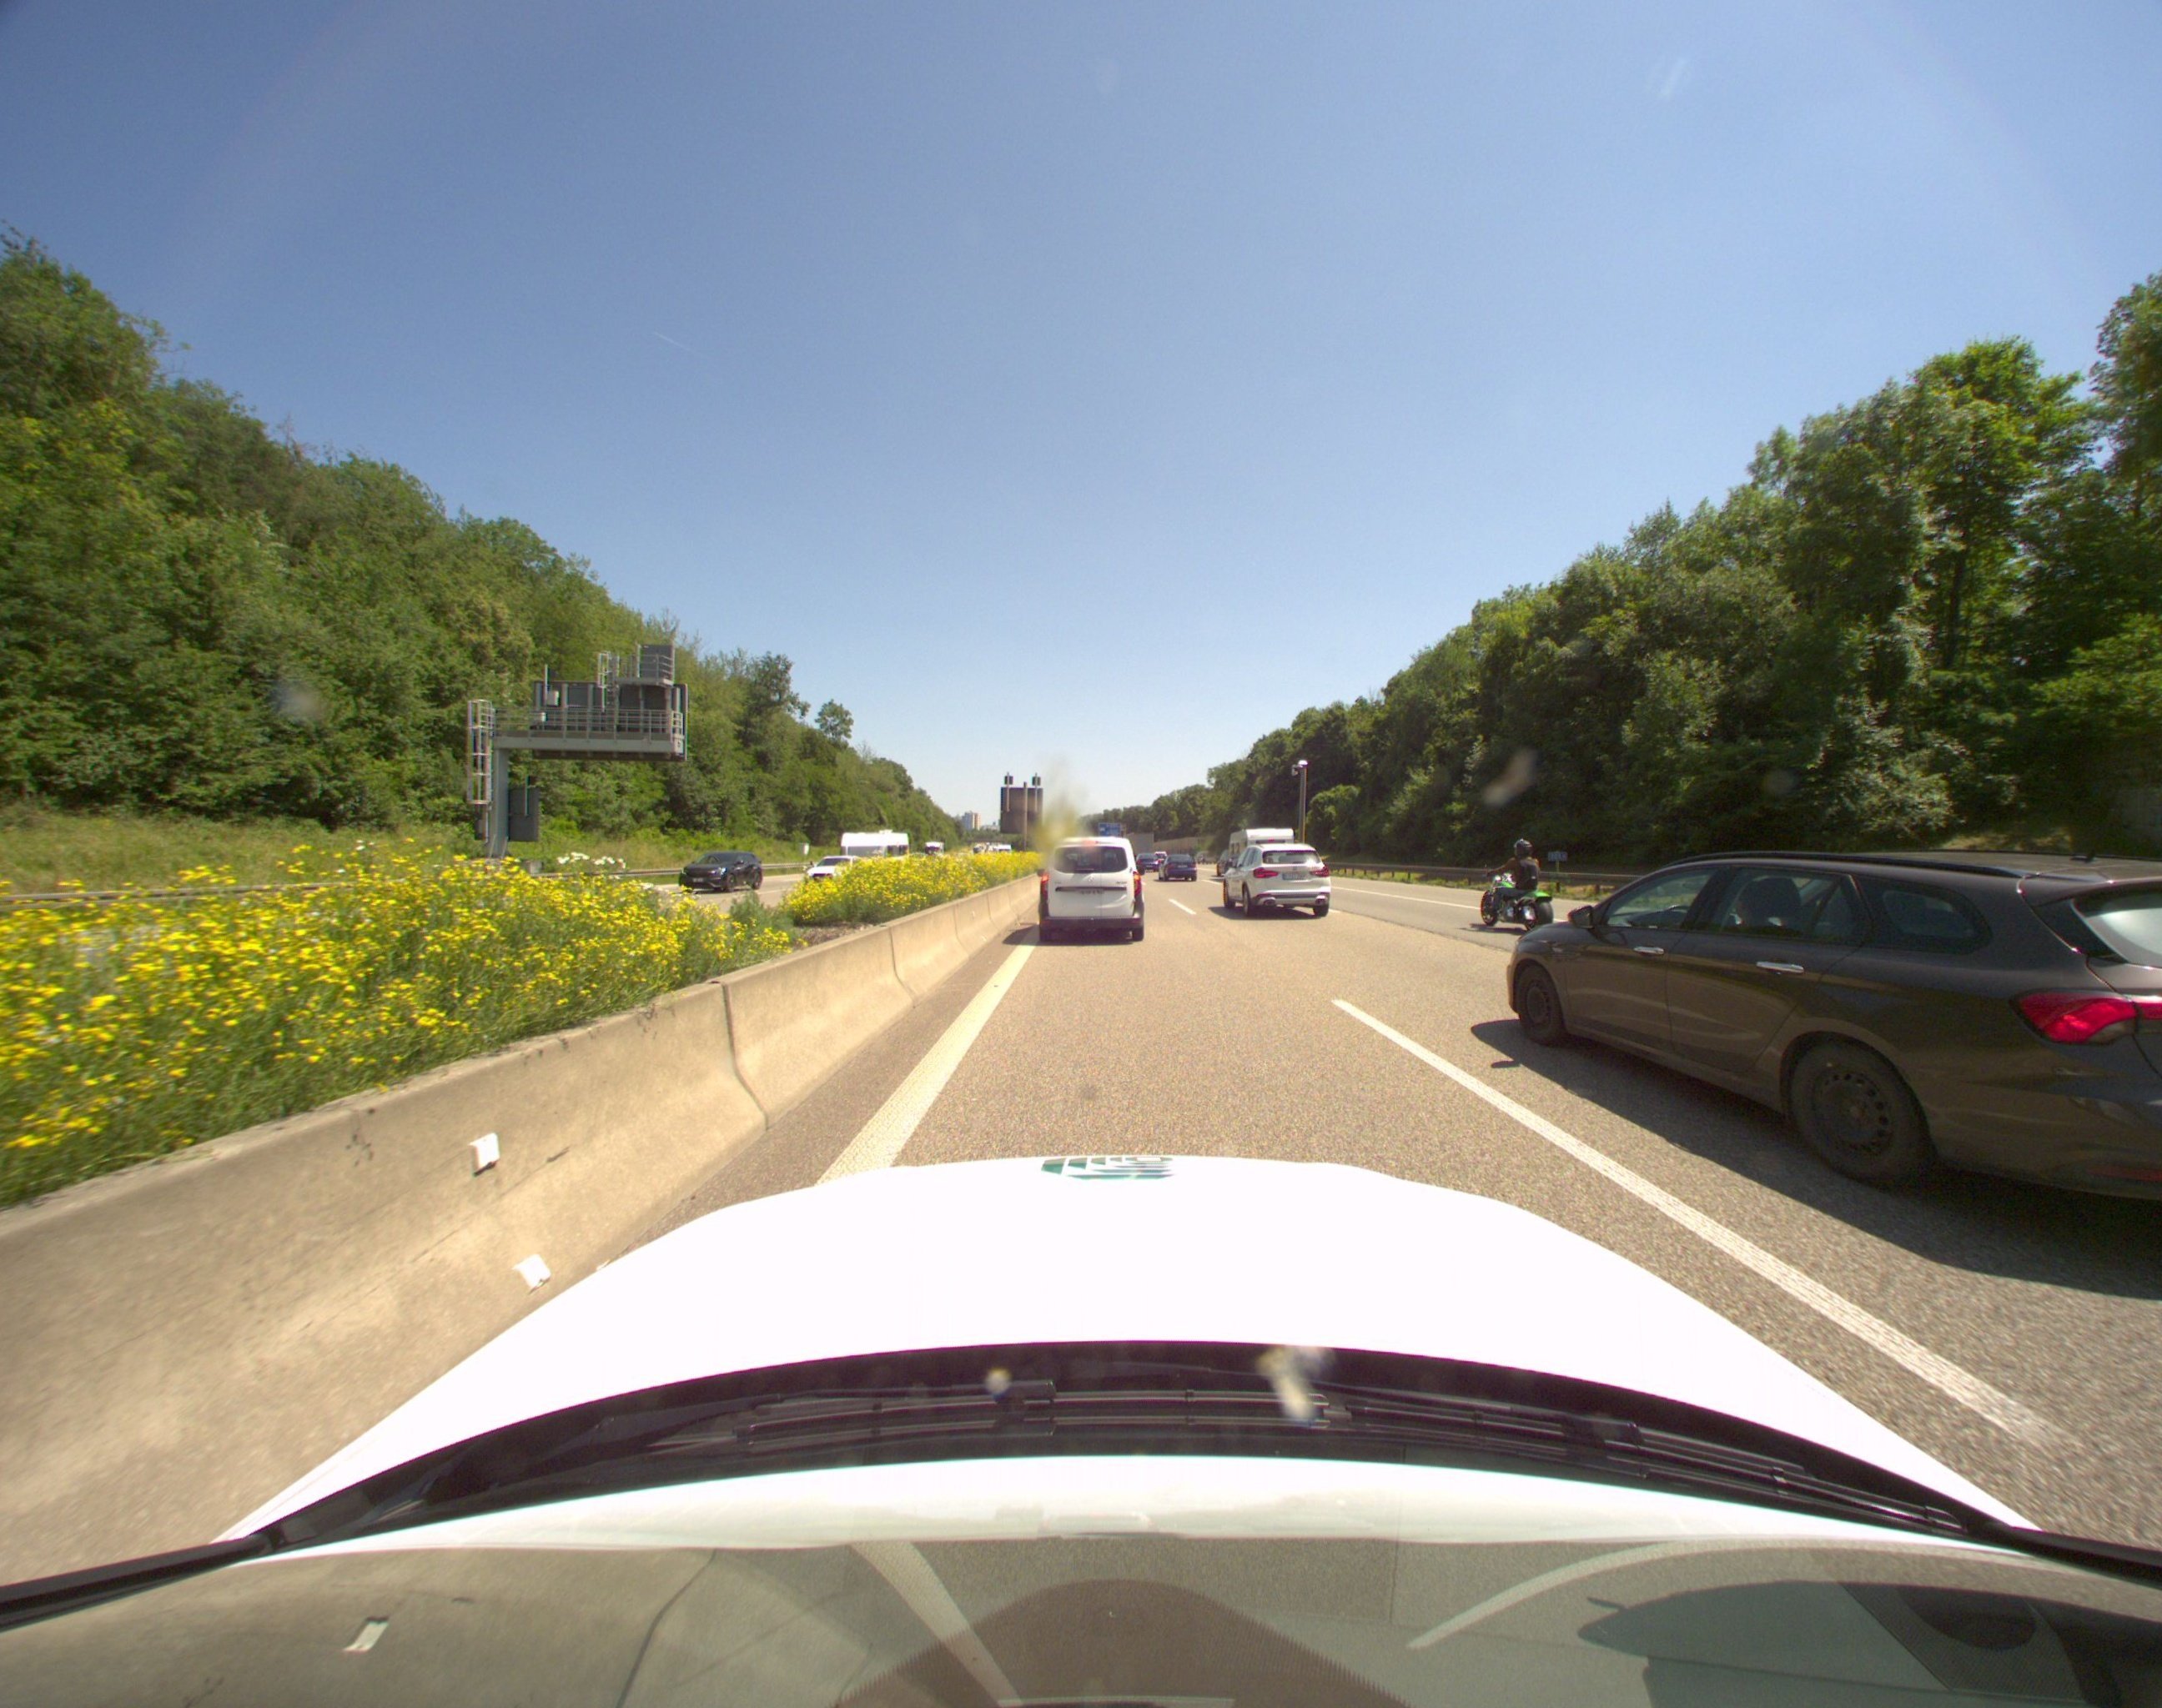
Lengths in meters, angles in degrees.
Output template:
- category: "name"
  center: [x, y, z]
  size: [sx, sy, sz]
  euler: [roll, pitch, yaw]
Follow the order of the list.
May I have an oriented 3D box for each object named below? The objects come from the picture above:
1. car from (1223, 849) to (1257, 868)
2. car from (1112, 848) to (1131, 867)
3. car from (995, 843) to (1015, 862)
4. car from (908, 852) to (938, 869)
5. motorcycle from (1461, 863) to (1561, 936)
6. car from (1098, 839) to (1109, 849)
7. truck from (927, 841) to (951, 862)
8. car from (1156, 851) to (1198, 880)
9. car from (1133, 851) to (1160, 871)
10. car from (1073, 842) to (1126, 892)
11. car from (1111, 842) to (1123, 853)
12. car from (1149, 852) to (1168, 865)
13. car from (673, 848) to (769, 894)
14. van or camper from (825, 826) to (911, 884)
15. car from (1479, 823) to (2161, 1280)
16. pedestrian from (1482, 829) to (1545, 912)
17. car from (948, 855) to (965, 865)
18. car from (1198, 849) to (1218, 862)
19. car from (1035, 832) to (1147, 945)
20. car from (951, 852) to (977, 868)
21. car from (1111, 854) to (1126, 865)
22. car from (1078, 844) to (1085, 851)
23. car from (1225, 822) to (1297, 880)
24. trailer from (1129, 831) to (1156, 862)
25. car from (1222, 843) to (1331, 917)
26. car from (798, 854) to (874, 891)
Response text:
- category: "car"
  center: [11.911, 0.318, 61.226]
  size: [1.817, 1.424, 4.001]
  euler: [-1, 0, 1]
- category: "car"
  center: [4.275, 0.357, 86.021]
  size: [1.817, 1.989, 4.001]
  euler: [-1, 0, 1]
- category: "car"
  center: [-10.434, -0.259, 112.547]
  size: [1.986, 2.541, 5.910]
  euler: [-1, 0, 1]
- category: "car"
  center: [-15.282, 0.617, 78.796]
  size: [1.986, 1.574, 4.001]
  euler: [-1, 0, 1]
- category: "motorcycle"
  center: [7.929, 0.795, 15.163]
  size: [0.855, 1.181, 2.280]
  euler: [0, 1, 6]
- category: "car"
  center: [4.595, -1.961, 166.521]
  size: [1.989, 2.013, 3.996]
  euler: [-1, 0, -3]
- category: "truck"
  center: [-21.949, -0.382, 125.930]
  size: [2.399, 3.005, 7.458]
  euler: [-1, 0, 0]
- category: "car"
  center: [4.961, 0.579, 42.559]
  size: [1.817, 1.424, 4.001]
  euler: [-1, 0, 1]
- category: "car"
  center: [4.909, 0.524, 61.329]
  size: [1.817, 1.424, 4.001]
  euler: [-1, 0, 1]
- category: "car"
  center: [0.749, 0.472, 32.677]
  size: [1.986, 1.860, 4.001]
  euler: [-1, 0, 1]
- category: "car"
  center: [6.595, -1.146, 149.487]
  size: [1.986, 2.013, 4.001]
  euler: [-1, 0, 1]
- category: "car"
  center: [8.459, 0.454, 88.936]
  size: [1.817, 1.424, 4.001]
  euler: [-1, 0, 1]
- category: "car"
  center: [-14.300, 0.621, 32.633]
  size: [1.749, 1.696, 4.424]
  euler: [-1, 0, 2]
- category: "van or camper"
  center: [-10.544, 0.053, 41.035]
  size: [2.301, 2.636, 7.398]
  euler: [-1, 0, 0]
- category: "car"
  center: [4.351, 0.622, 4.899]
  size: [1.832, 1.513, 4.402]
  euler: [0, 1, 1]
- category: "pedestrian"
  center: [7.901, 0.287, 14.891]
  size: [0.847, 1.478, 0.639]
  euler: [0, 1, 5]
- category: "car"
  center: [-17.641, 0.815, 115.630]
  size: [1.781, 1.454, 3.542]
  euler: [-1, 0, 1]
- category: "car"
  center: [14.862, 0.180, 95.529]
  size: [1.781, 1.519, 4.002]
  euler: [-1, 0, 2]
- category: "car"
  center: [0.187, 0.549, 15.239]
  size: [1.796, 1.808, 4.000]
  euler: [-1, 0, 1]
- category: "car"
  center: [-11.971, 0.556, 83.832]
  size: [1.986, 1.574, 4.001]
  euler: [-1, 0, 1]
- category: "car"
  center: [4.930, 0.726, 106.553]
  size: [1.817, 1.447, 4.001]
  euler: [-1, 0, 1]
- category: "car"
  center: [0.214, -2.000, 241.305]
  size: [1.986, 2.013, 4.001]
  euler: [-1, 0, 1]
- category: "car"
  center: [9.229, -0.151, 42.435]
  size: [2.470, 2.765, 6.221]
  euler: [-1, 0, 1]
- category: "trailer"
  center: [8.195, -0.947, 109.505]
  size: [3.071, 3.985, 10.326]
  euler: [-1, 0, 1]
- category: "car"
  center: [4.615, 0.546, 19.725]
  size: [1.864, 1.608, 3.881]
  euler: [0, 1, 2]
- category: "car"
  center: [-10.406, 0.730, 34.985]
  size: [1.749, 1.439, 4.611]
  euler: [-1, 0, 2]
